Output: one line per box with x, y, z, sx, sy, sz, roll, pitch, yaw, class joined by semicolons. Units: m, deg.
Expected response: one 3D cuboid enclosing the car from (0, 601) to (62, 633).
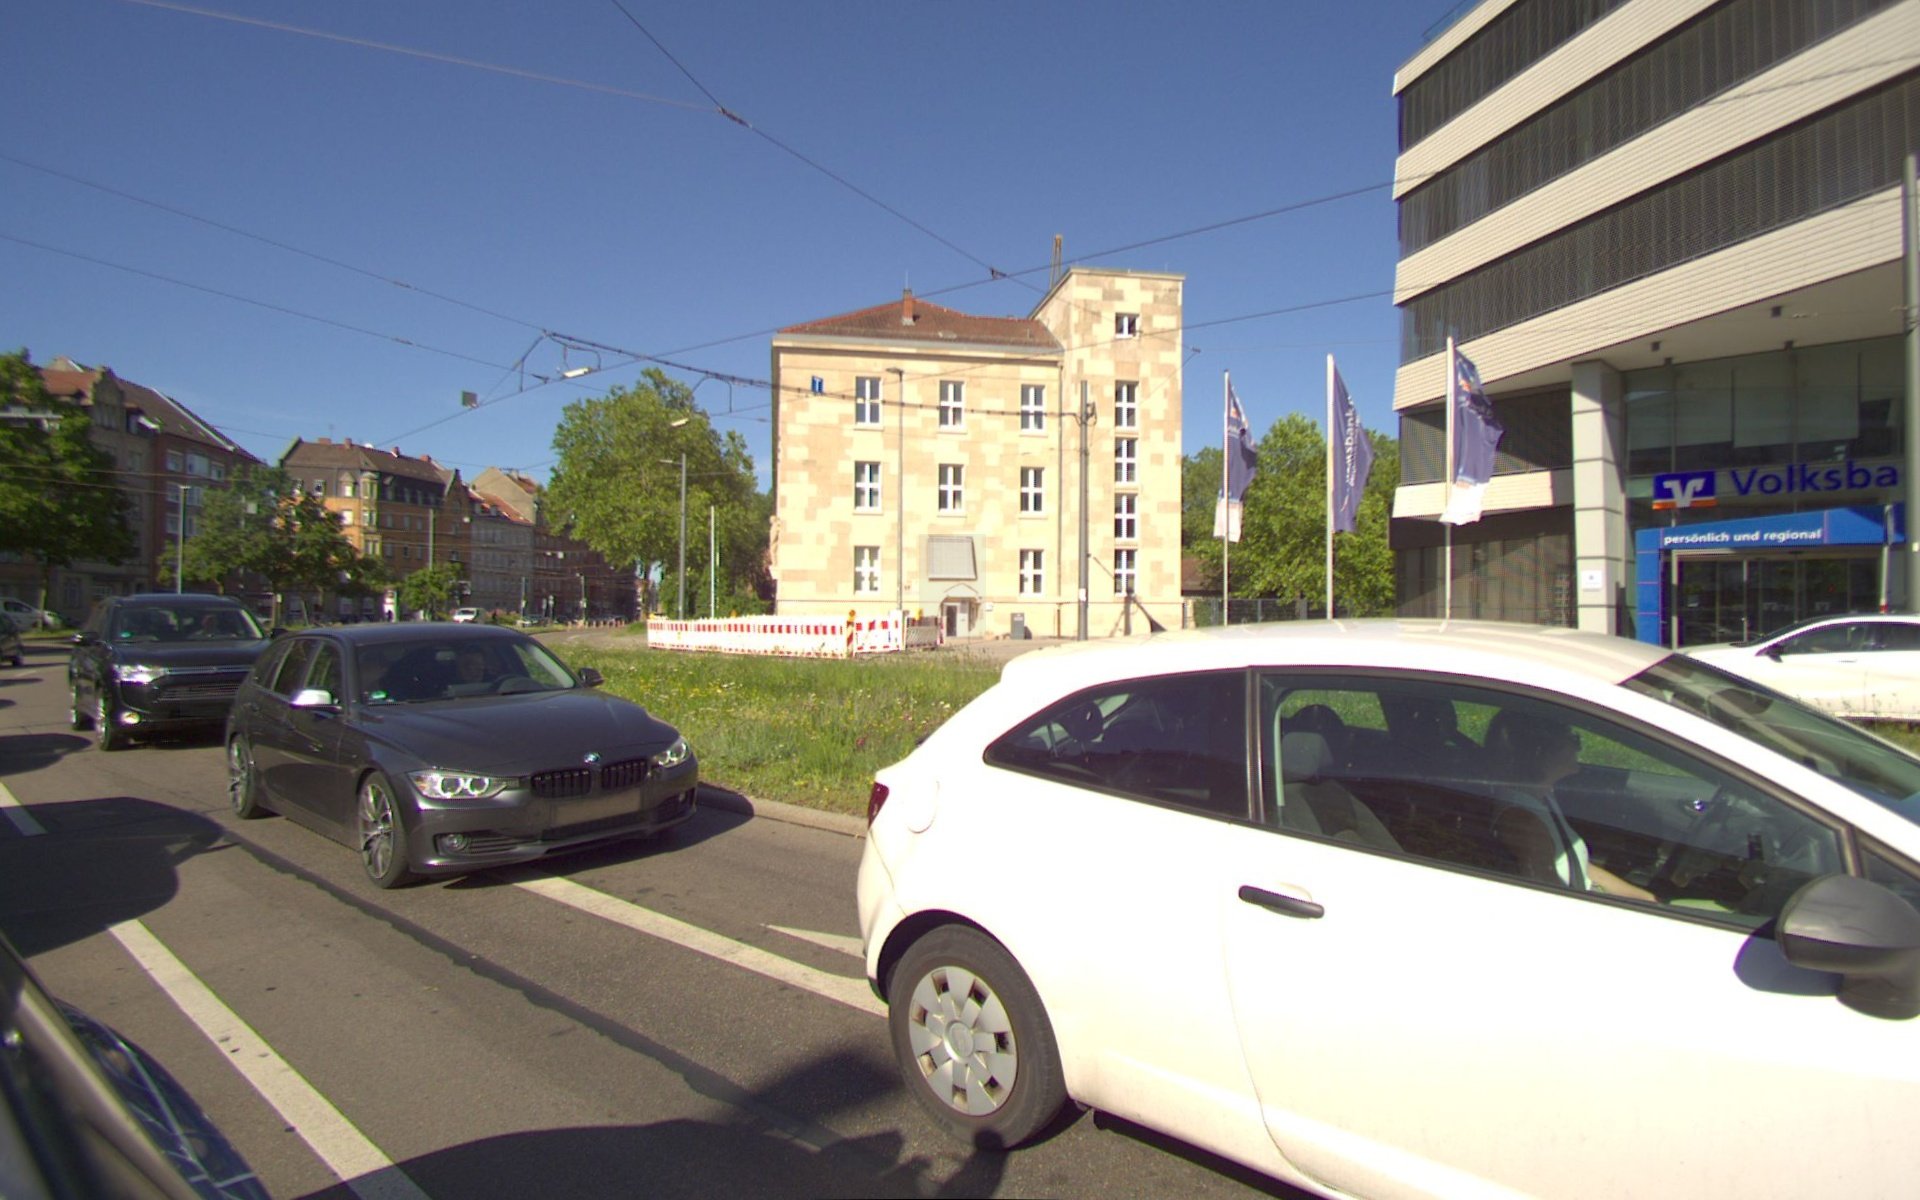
-49.932;0.883;52.796;4.514;1.680;1.601;2;-2;-43;car

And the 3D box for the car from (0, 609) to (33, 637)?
-48.767;1.143;50.390;3.768;1.390;1.602;2;-2;-41;car

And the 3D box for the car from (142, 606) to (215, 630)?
-53.933;1.264;69.878;3.771;1.603;1.601;2;-2;-44;car

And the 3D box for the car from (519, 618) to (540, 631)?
-49.154;2.800;115.678;1.809;1.483;4.728;1;-1;-19;car

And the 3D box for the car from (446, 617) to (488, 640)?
-45.668;2.608;93.852;1.953;2.101;4.718;1;-1;-5;car

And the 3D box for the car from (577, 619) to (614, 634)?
-42.851;3.073;119.018;4.001;1.669;1.772;1;-1;-16;car

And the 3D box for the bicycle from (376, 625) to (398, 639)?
-46.758;2.610;82.582;0.753;1.153;2.286;0;-1;-7;bicycle

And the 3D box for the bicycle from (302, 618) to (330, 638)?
-44.059;1.887;69.231;0.726;1.371;2.078;0;-1;-6;bicycle

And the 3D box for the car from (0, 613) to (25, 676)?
-27.443;1.192;27.979;1.810;1.659;4.158;2;-2;-36;car

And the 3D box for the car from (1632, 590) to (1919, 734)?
11.109;0.741;12.837;4.175;1.658;1.802;-1;-2;38;car

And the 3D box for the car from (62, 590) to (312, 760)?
-9.381;0.768;12.135;1.817;1.658;4.400;-1;-1;-45;car

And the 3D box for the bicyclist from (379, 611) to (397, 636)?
-46.717;1.881;82.630;0.836;2.029;1.198;0;-1;-7;bicyclist

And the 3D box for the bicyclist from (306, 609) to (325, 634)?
-44.040;1.450;69.160;0.724;1.707;0.972;0;-1;-6;bicyclist

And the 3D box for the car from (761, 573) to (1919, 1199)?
1.480;0.691;2.485;4.020;1.452;1.714;0;2;40;car

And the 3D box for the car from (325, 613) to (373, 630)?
-69.454;2.444;115.127;4.276;1.896;1.846;1;-1;-15;car

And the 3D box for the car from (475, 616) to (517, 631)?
-53.126;2.649;115.891;4.019;1.669;1.764;1;-1;5;car

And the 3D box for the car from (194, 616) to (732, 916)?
-3.599;0.823;6.885;4.424;1.377;1.719;-1;0;41;car
